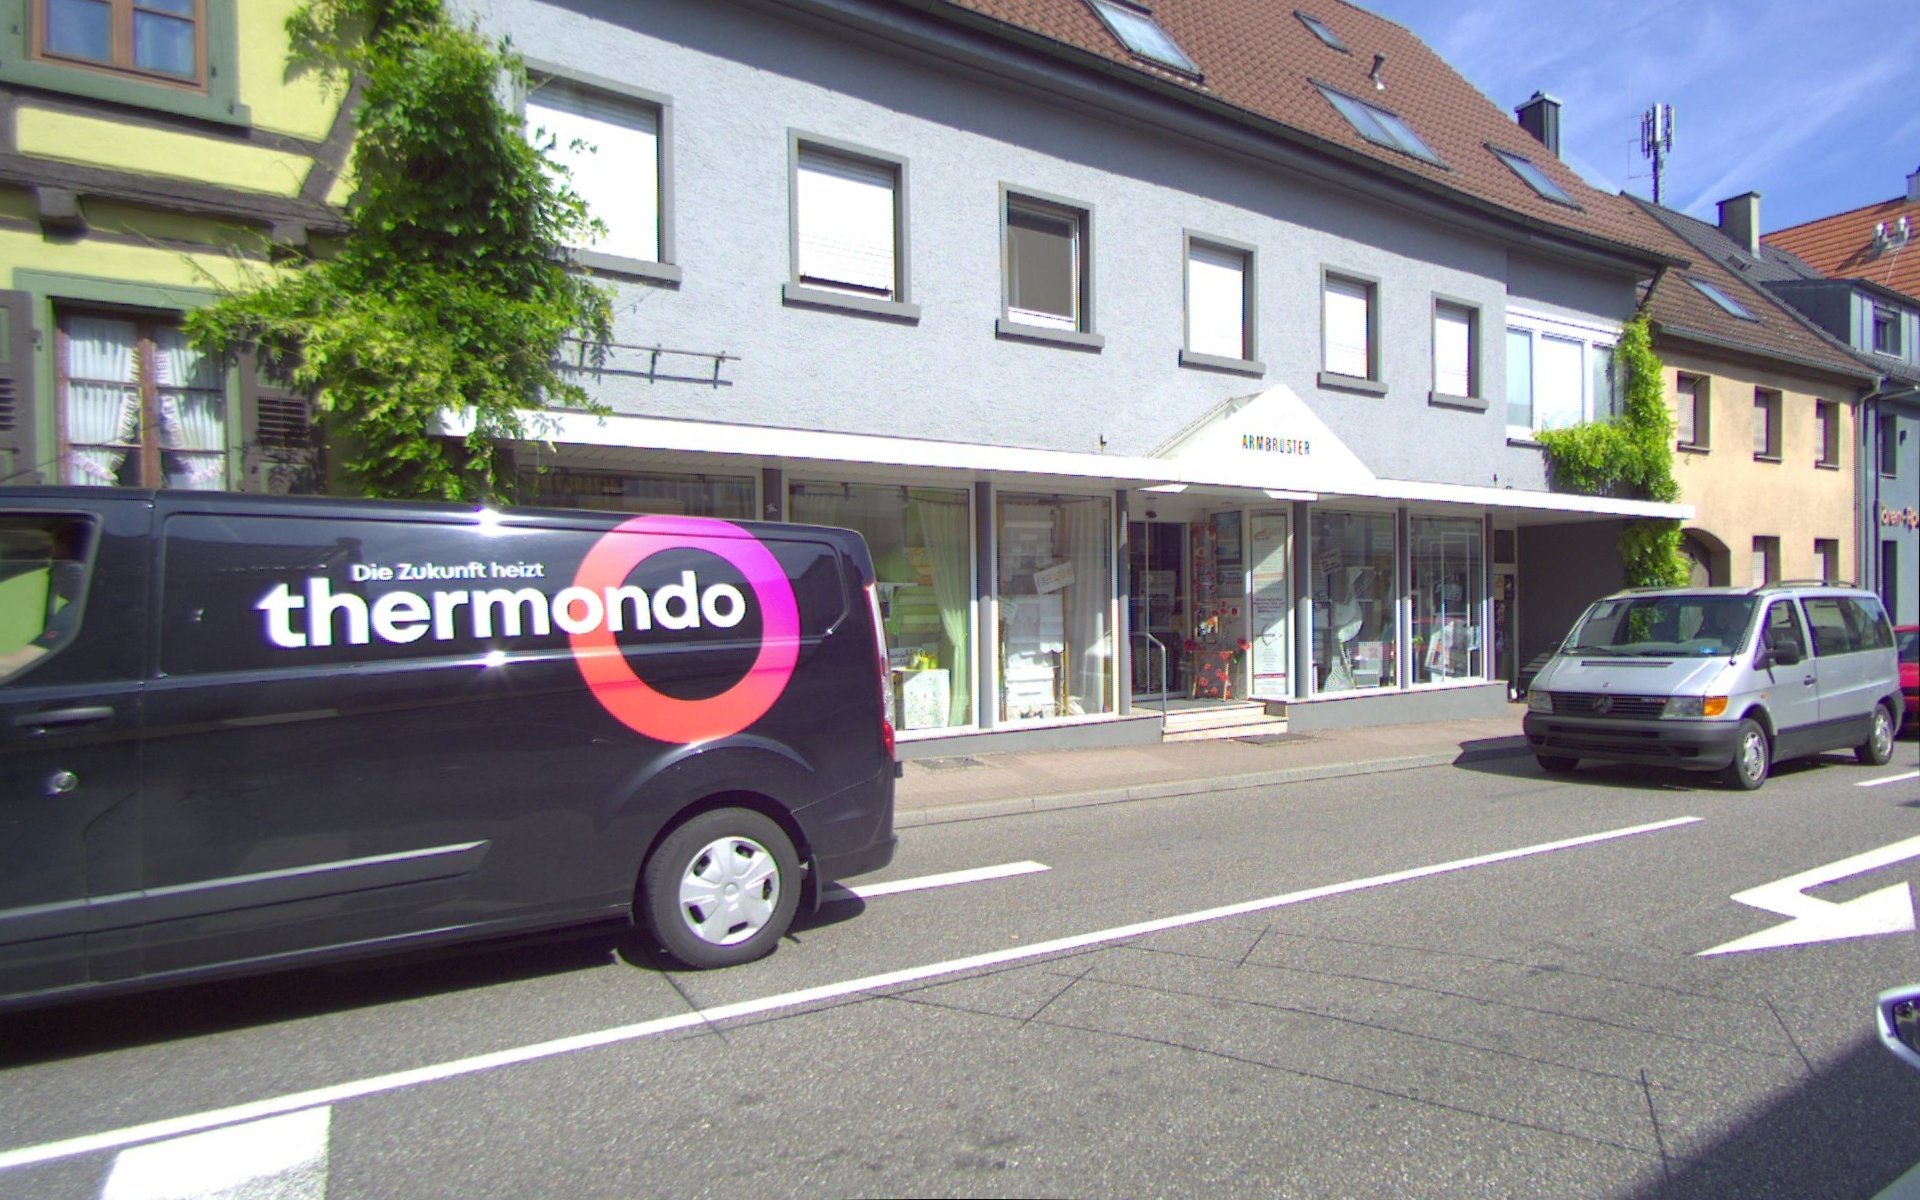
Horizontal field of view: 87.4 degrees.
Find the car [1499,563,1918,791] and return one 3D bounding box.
[{"bbox_3d":[7.811,0.692,10.389,4.499,1.915,1.874,0,-2,-31],"label":"car"}]

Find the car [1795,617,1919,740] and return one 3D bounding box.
[{"bbox_3d":[13.317,0.990,13.663,4.029,1.512,1.750,1,-2,-31],"label":"car"}]

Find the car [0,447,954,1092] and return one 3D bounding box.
[{"bbox_3d":[-2.772,0.567,4.374,5.104,1.948,2.150,1,-3,-30],"label":"car"}]
